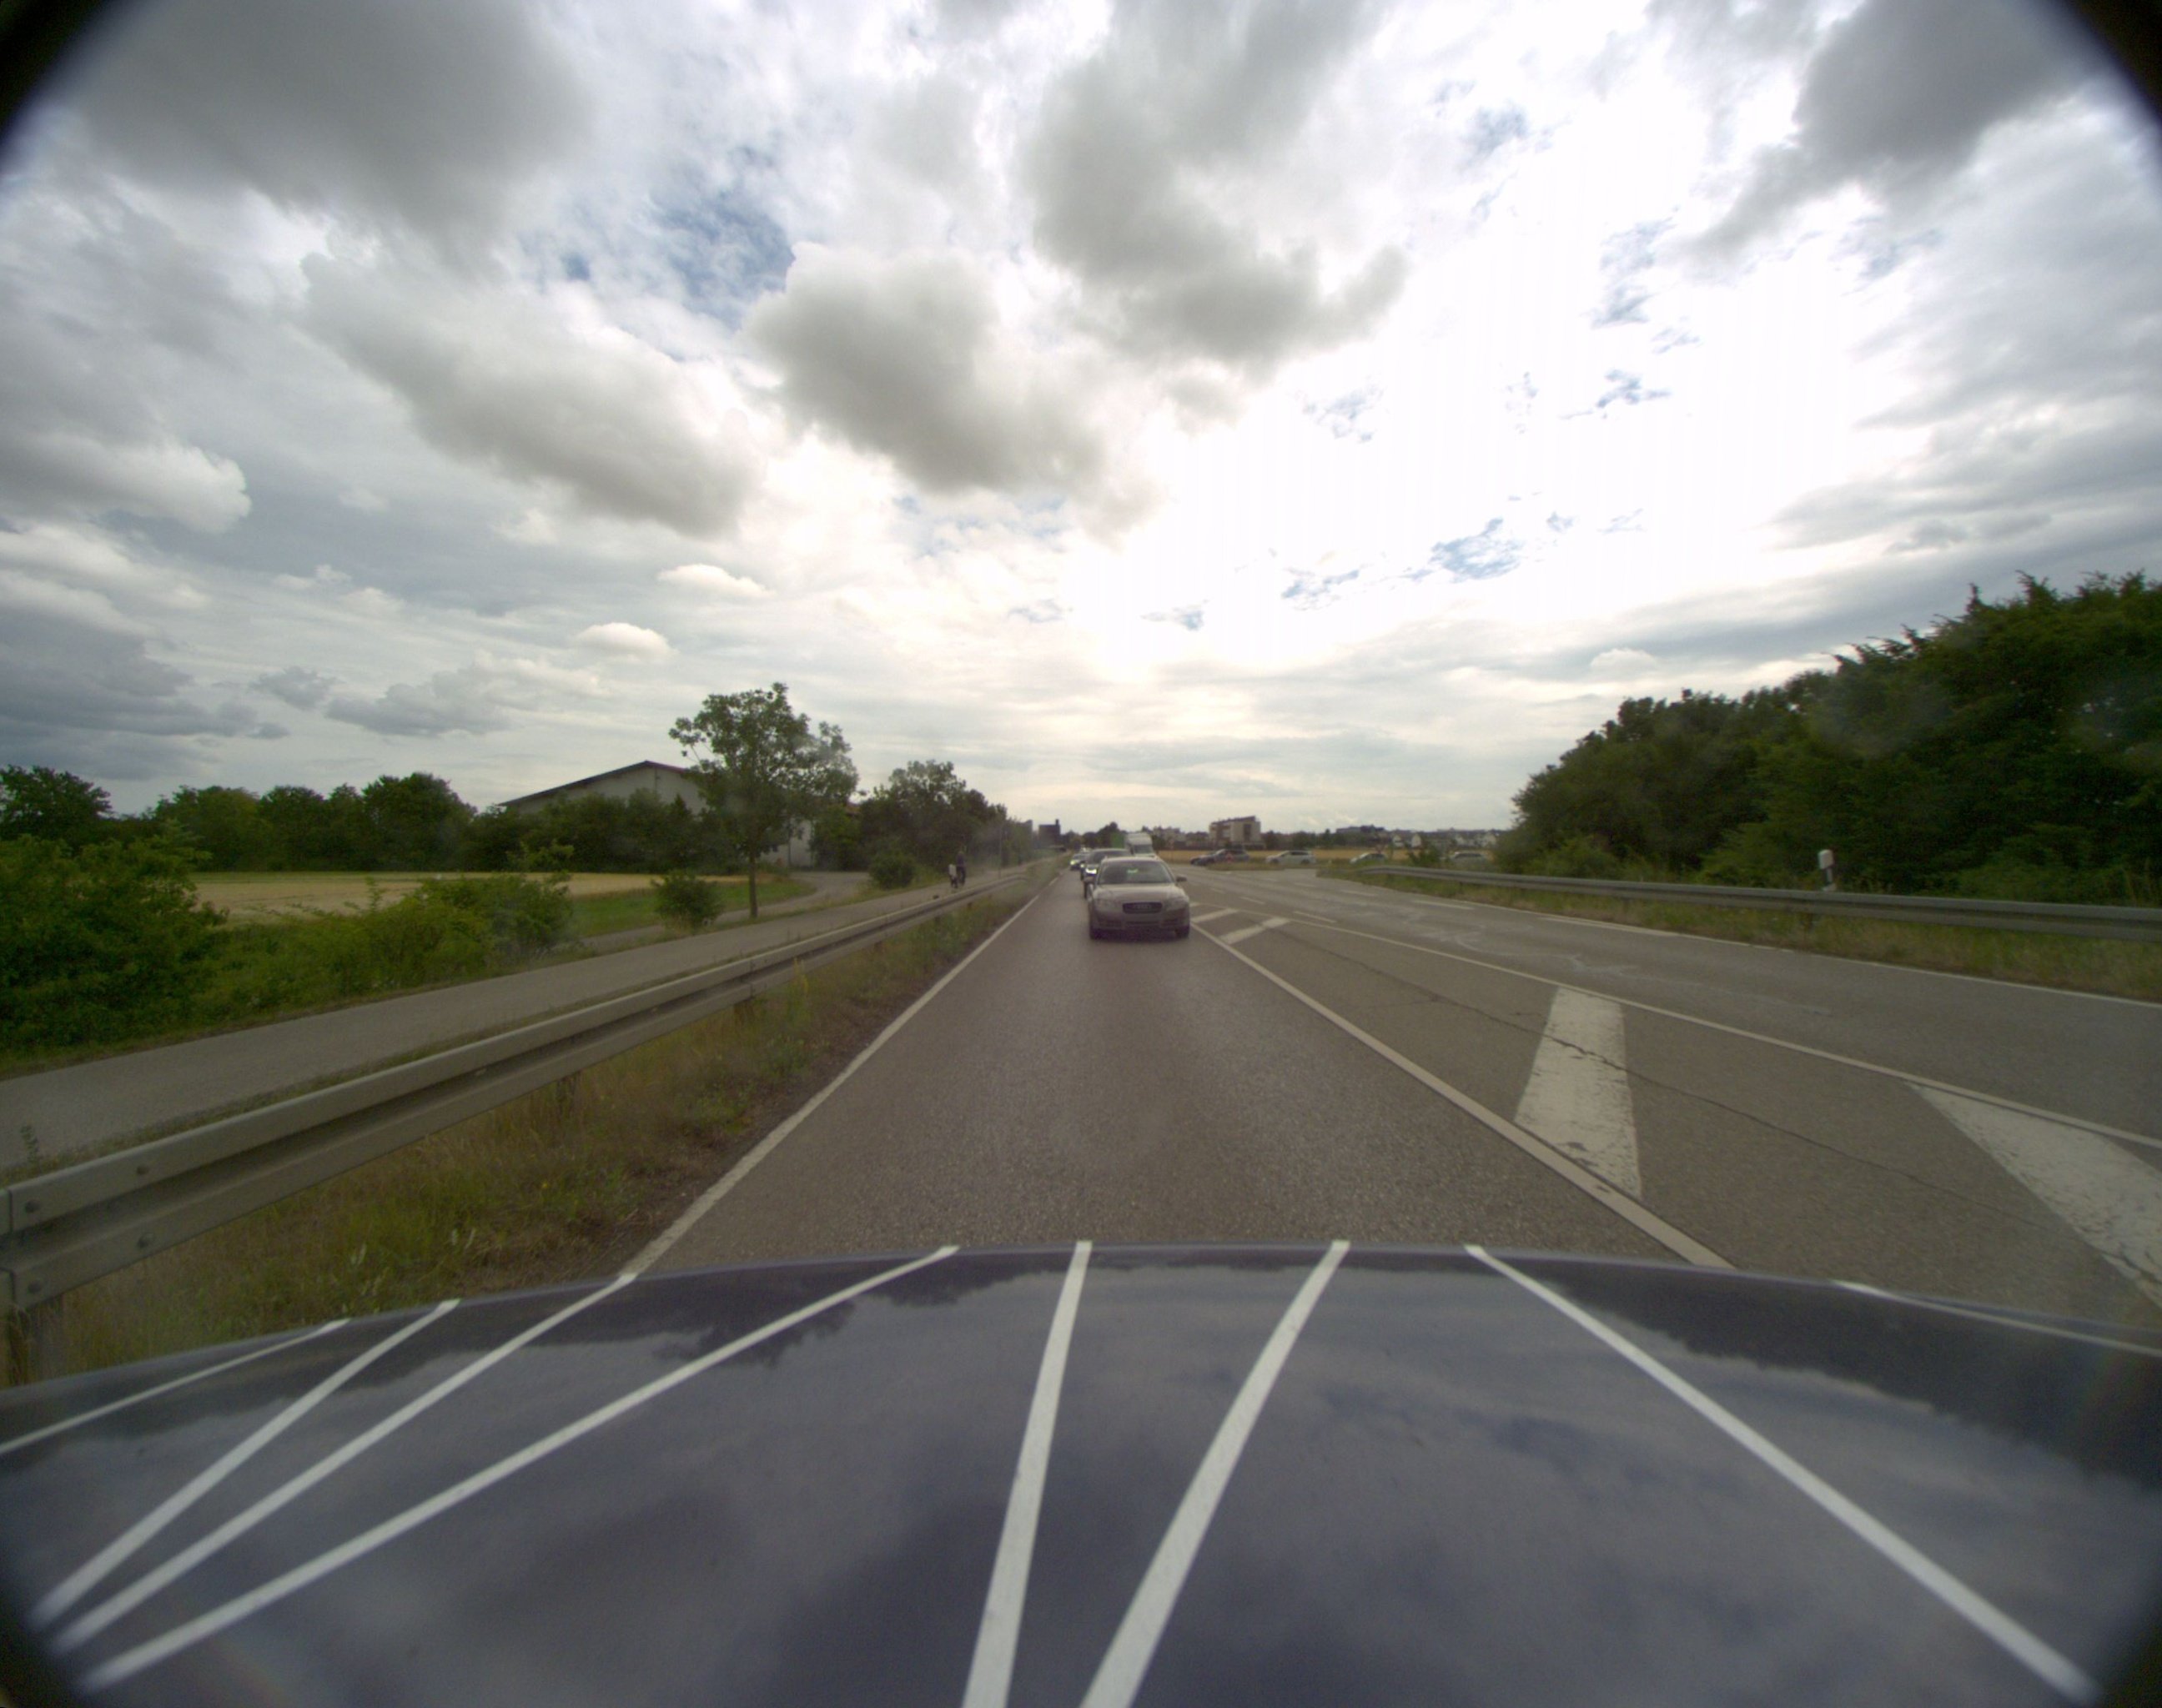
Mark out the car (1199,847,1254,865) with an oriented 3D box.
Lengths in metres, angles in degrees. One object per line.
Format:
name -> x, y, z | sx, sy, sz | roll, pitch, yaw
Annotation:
car -> 13.733, 0.188, 71.978 | 4.816, 1.680, 1.999 | -1, 1, -4

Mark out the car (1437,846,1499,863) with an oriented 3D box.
car -> 35.514, 0.062, 69.814 | 4.673, 1.490, 2.001 | -1, 1, 7

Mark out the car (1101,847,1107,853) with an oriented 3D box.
car -> 7.625, -1.331, 250.433 | 1.998, 2.002, 3.999 | -2, 1, 1

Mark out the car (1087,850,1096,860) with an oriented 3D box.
car -> 2.234, 0.095, 161.980 | 1.998, 2.002, 3.999 | -2, 1, 1

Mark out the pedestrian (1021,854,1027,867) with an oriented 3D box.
pedestrian -> -6.686, 0.761, 89.239 | 0.591, 1.512, 0.501 | -2, 1, 7

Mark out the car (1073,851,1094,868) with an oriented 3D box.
car -> 0.240, 0.492, 67.772 | 1.730, 1.436, 4.204 | -2, 0, 0

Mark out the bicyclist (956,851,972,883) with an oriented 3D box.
bicyclist -> -5.928, 0.643, 38.549 | 0.640, 1.573, 0.969 | -1, 1, 0

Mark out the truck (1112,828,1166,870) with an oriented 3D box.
truck -> 5.292, -0.451, 70.382 | 2.934, 3.541, 7.597 | -2, 1, -11

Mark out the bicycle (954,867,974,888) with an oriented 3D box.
bicycle -> -5.925, 1.158, 38.578 | 0.640, 0.972, 2.072 | -1, 1, 1

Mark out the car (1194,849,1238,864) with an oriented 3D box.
car -> 13.549, 0.266, 76.154 | 3.827, 1.481, 2.004 | 0, 1, 35

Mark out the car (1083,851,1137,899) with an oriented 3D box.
car -> 0.964, 0.686, 27.273 | 1.730, 1.534, 4.204 | -1, 0, 0

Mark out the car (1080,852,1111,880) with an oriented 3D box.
car -> 0.818, 0.677, 44.536 | 1.730, 1.478, 4.204 | -2, 0, 0

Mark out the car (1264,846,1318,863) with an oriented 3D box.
car -> 19.821, 0.025, 71.798 | 4.673, 1.490, 2.001 | -1, 1, 7

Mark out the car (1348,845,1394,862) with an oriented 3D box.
car -> 26.982, -0.049, 70.719 | 3.714, 1.490, 1.731 | -1, 1, 7

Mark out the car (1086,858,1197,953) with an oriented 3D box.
car -> 0.990, 0.844, 14.347 | 1.730, 1.436, 4.204 | -1, 0, 0
